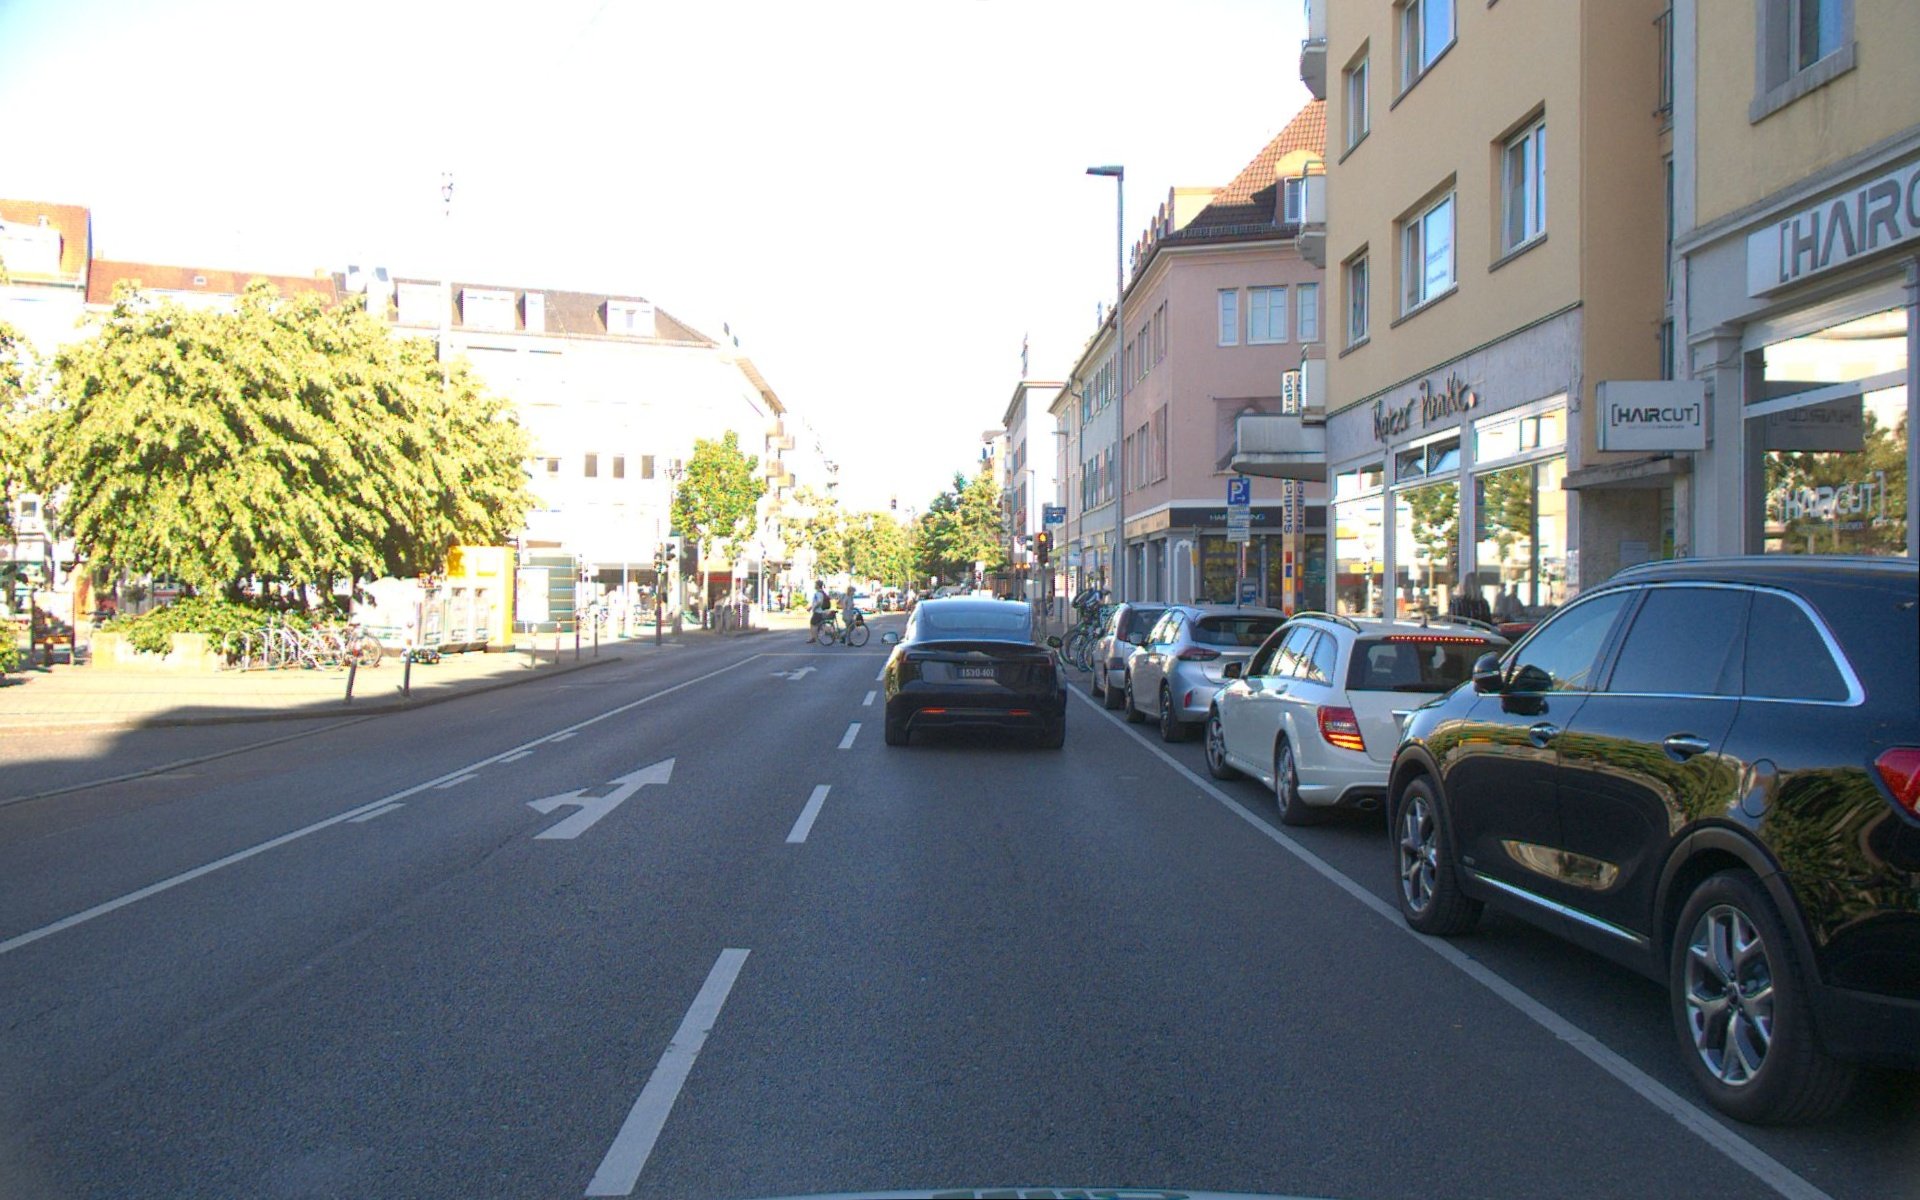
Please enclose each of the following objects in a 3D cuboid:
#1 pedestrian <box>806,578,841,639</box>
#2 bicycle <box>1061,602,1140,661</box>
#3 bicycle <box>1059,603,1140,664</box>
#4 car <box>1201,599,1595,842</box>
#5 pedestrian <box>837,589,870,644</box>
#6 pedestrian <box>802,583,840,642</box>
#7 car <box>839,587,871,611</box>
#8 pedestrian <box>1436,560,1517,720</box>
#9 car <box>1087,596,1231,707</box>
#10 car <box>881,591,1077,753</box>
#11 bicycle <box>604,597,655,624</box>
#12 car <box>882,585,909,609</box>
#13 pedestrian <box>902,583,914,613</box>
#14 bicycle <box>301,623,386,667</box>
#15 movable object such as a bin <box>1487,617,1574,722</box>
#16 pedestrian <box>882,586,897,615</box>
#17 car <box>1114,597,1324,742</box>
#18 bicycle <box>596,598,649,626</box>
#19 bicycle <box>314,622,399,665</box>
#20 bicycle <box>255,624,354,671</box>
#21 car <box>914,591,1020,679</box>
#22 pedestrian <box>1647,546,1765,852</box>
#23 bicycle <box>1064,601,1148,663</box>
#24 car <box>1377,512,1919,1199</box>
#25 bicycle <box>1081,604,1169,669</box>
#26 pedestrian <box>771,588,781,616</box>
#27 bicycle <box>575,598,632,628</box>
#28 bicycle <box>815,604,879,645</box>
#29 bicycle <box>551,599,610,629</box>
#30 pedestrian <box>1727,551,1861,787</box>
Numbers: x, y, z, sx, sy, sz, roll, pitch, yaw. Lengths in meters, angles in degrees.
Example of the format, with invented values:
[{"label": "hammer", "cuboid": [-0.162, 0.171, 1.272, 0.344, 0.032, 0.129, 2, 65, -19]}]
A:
[{"label": "pedestrian", "cuboid": [-4.018, 0.238, 48.687, 0.882, 1.755, 0.744, 1, 0, 3]}, {"label": "bicycle", "cuboid": [2.948, 0.660, 34.704, 1.594, 1.180, 0.433, -1, 0, 0]}, {"label": "bicycle", "cuboid": [2.825, 0.675, 33.545, 1.595, 1.180, 0.432, -1, 0, -2]}, {"label": "car", "cuboid": [3.064, 0.755, 12.561, 1.703, 1.472, 4.463, 1, 0, -1]}, {"label": "pedestrian", "cuboid": [-2.883, 0.450, 44.738, 0.727, 1.465, 0.583, 1, 0, 12]}, {"label": "pedestrian", "cuboid": [-4.003, 0.348, 47.699, 0.965, 1.665, 0.737, 1, 0, 3]}, {"label": "car", "cuboid": [-7.548, -0.081, 119.108, 1.953, 1.568, 4.000, -3, 0, 0]}, {"label": "pedestrian", "cuboid": [5.517, 0.420, 17.688, 0.648, 1.661, 0.628, -2, -1, 4]}, {"label": "car", "cuboid": [2.736, 0.665, 23.469, 1.588, 1.419, 3.886, 1, 0, 0]}, {"label": "car", "cuboid": [0.194, 0.662, 17.311, 1.812, 1.480, 3.786, 1, 0, 0]}, {"label": "bicycle", "cuboid": [-14.369, 0.457, 72.000, 2.040, 1.123, 0.806, 1, 0, -1]}, {"label": "car", "cuboid": [-5.033, -0.240, 128.957, 2.009, 1.757, 4.651, 1, 0, -3]}, {"label": "pedestrian", "cuboid": [-3.595, -0.128, 115.058, 0.614, 2.049, 0.559, 1, 0, 24]}, {"label": "bicycle", "cuboid": [-11.635, 0.847, 31.224, 1.442, 0.782, 0.441, 1, 0, 4]}, {"label": "movable object such as a bin", "cuboid": [6.212, 0.748, 18.034, 0.688, 1.086, 0.619, -2, 0, -1]}, {"label": "pedestrian", "cuboid": [-4.974, 0.010, 116.576, 0.741, 2.049, 0.792, 1, 0, -26]}, {"label": "car", "cuboid": [2.845, 0.710, 18.955, 1.636, 1.452, 4.076, 1, 0, -2]}, {"label": "bicycle", "cuboid": [-14.244, 0.507, 69.807, 2.040, 1.123, 0.806, 1, 0, -1]}, {"label": "bicycle", "cuboid": [-11.586, 0.839, 31.784, 1.442, 0.782, 0.475, 1, 0, 2]}, {"label": "bicycle", "cuboid": [-11.822, 0.852, 29.840, 1.621, 0.782, 0.475, 1, 0, 9]}, {"label": "car", "cuboid": [0.131, 0.594, 30.432, 1.812, 1.480, 3.786, 1, 0, 0]}, {"label": "pedestrian", "cuboid": [4.515, 0.583, 10.014, 0.430, 1.793, 0.476, 1, 0, -36]}, {"label": "bicycle", "cuboid": [2.863, 0.622, 32.536, 1.595, 1.180, 0.432, -1, 0, -2]}, {"label": "car", "cuboid": [3.136, 0.661, 6.138, 1.720, 1.767, 4.569, 1, 0, -4]}, {"label": "bicycle", "cuboid": [3.114, 0.679, 31.343, 1.595, 1.180, 0.432, -1, 0, -2]}, {"label": "pedestrian", "cuboid": [-13.657, 0.123, 122.816, 0.613, 2.049, 0.707, 1, 0, -1]}, {"label": "bicycle", "cuboid": [-14.015, 0.507, 65.034, 2.040, 1.123, 0.806, 1, 0, -1]}, {"label": "bicycle", "cuboid": [-3.031, 0.657, 44.463, 1.581, 1.063, 0.591, 1, 0, 14]}, {"label": "bicycle", "cuboid": [-14.329, 0.524, 62.512, 2.040, 1.123, 0.806, 1, 0, -1]}, {"label": "pedestrian", "cuboid": [6.036, 0.488, 11.994, 0.682, 1.661, 0.532, -1, 0, -3]}]
